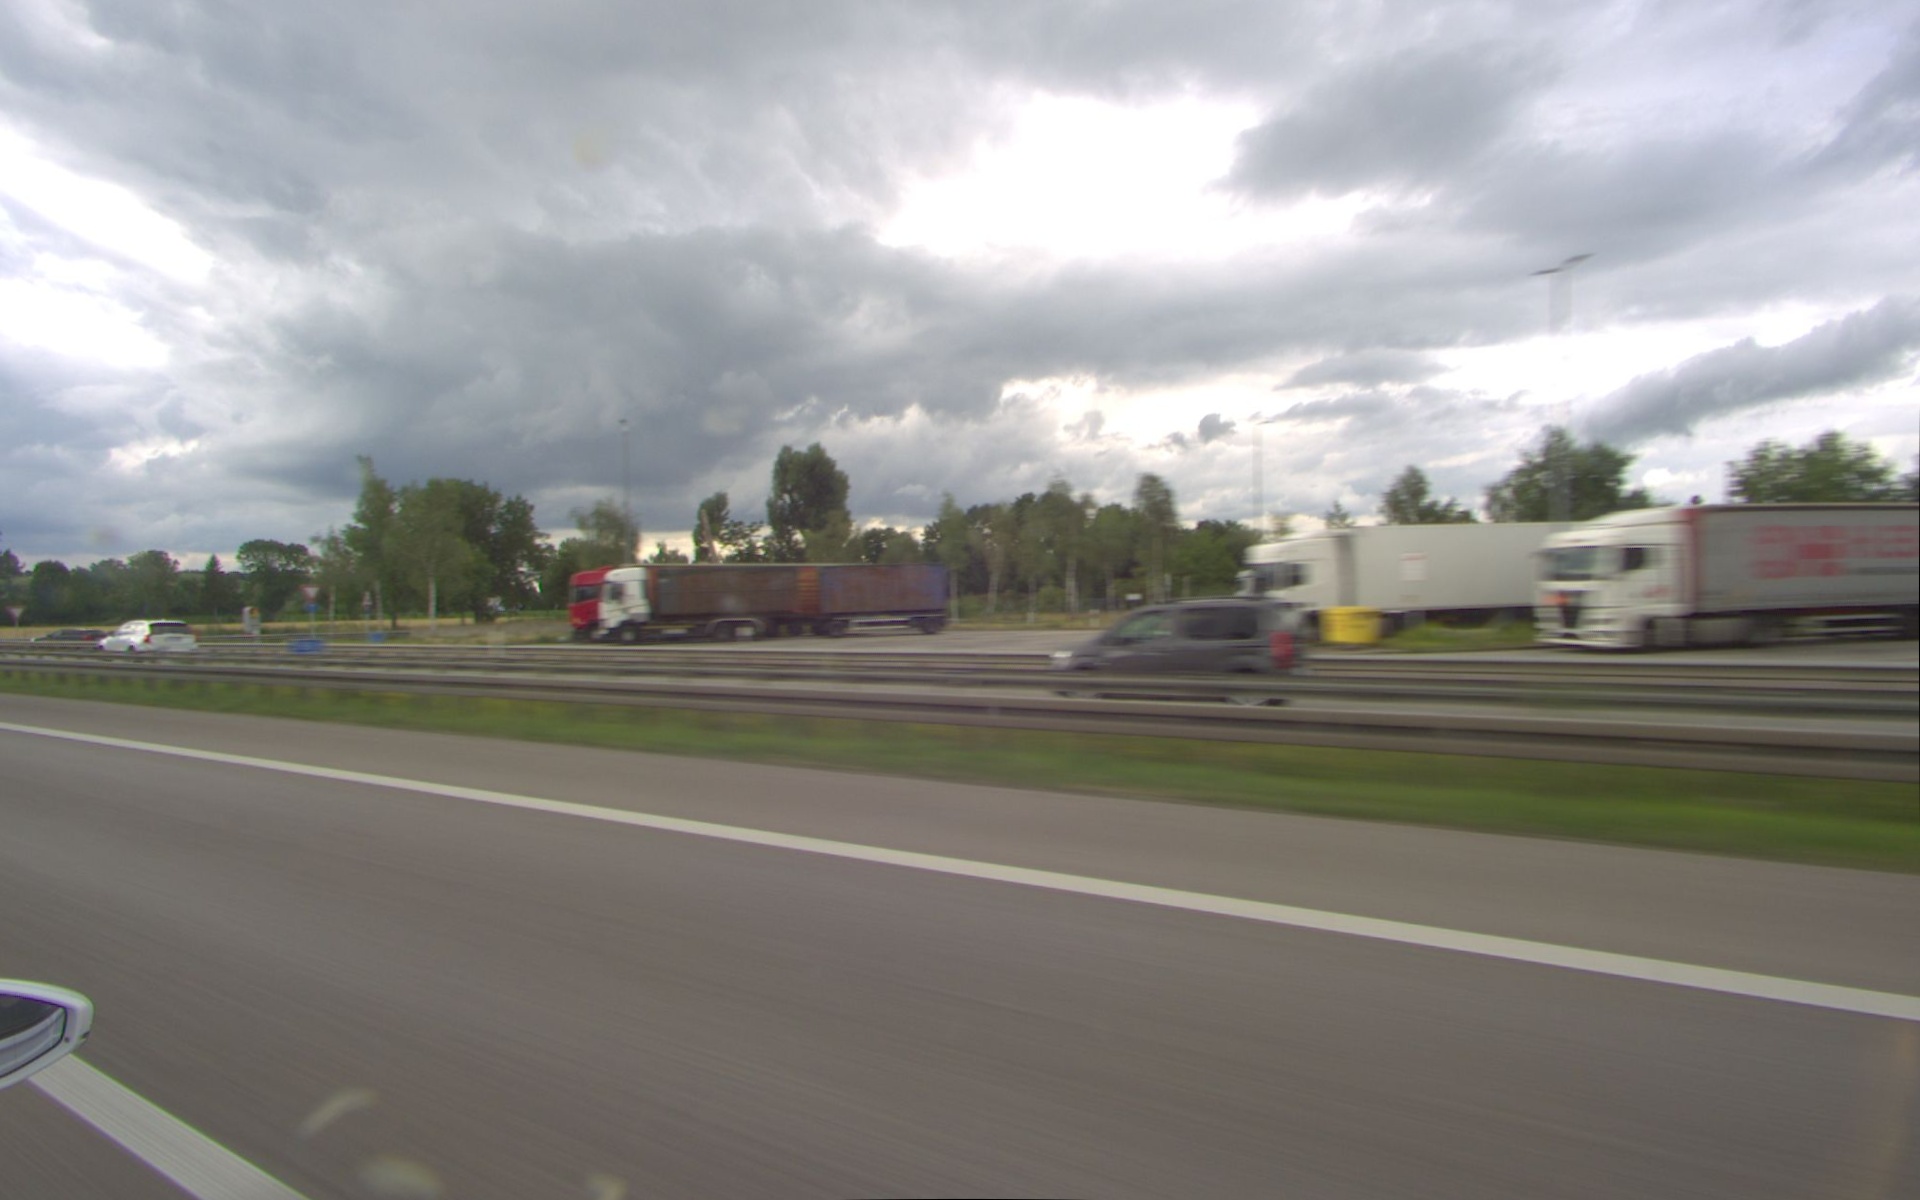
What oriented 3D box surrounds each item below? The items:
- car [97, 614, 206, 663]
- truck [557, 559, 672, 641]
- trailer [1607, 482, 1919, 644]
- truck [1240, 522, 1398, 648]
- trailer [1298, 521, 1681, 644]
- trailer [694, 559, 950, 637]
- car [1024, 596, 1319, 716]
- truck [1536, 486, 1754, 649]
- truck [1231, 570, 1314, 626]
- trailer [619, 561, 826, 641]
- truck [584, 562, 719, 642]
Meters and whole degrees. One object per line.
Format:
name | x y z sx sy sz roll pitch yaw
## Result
car | -31.663 1.460 39.193 4.993 1.780 1.824 -1 0 33
truck | -18.660 0.073 54.370 5.588 4.308 2.591 0 -1 -12
trailer | 26.325 -0.914 29.985 13.881 4.452 2.477 0 -1 -12
truck | 12.432 -0.449 34.889 4.447 4.187 2.614 0 -1 -9
trailer | 18.969 -0.494 35.971 13.288 4.126 2.613 0 -1 -9
trailer | -7.180 -0.129 52.803 12.961 3.892 2.746 -1 0 -11
car | 3.497 0.864 16.868 4.529 1.780 1.824 -1 0 33
truck | 19.512 -0.815 28.642 4.815 4.382 2.510 0 -1 -13
truck | 20.485 -0.053 65.981 2.610 3.483 5.626 0 -2 -15
trailer | -12.987 0.081 55.526 10.902 4.279 2.597 0 -1 -11
truck | -15.612 0.101 51.173 6.274 3.901 2.754 -1 0 -11
